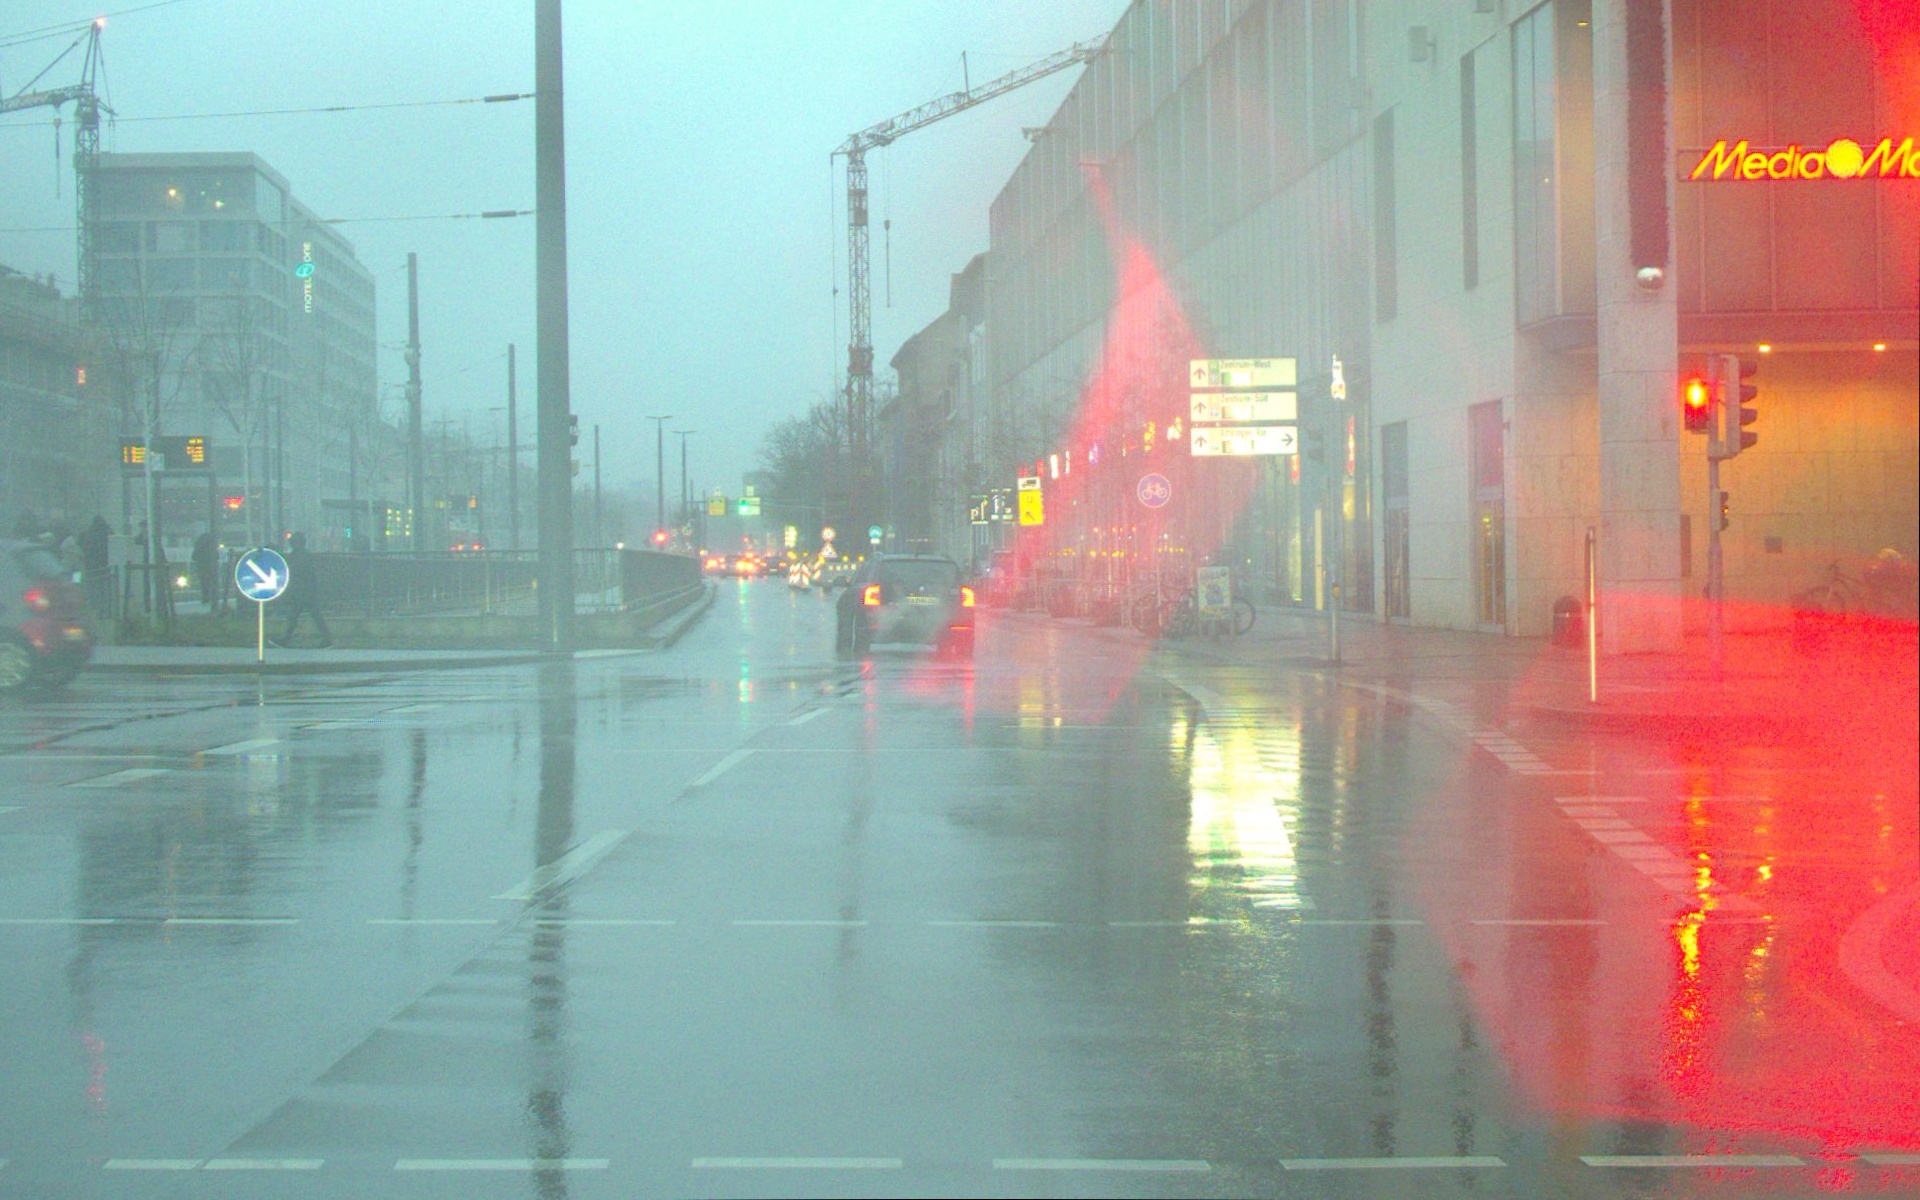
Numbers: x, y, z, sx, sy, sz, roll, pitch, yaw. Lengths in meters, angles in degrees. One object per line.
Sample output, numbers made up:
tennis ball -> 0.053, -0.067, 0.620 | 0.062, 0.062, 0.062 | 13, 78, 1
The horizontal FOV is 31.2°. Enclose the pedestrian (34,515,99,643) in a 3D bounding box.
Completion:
pedestrian -> -12.381, -0.295, 47.664 | 0.703, 1.754, 0.652 | -1, 1, 0

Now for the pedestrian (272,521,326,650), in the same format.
pedestrian -> -9.167, -0.199, 47.673 | 0.633, 1.766, 0.484 | -1, 1, -2

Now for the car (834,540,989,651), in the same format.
car -> -0.758, -0.092, 50.248 | 1.974, 1.525, 4.001 | -1, 1, -5

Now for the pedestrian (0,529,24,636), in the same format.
pedestrian -> -14.624, -0.272, 52.285 | 0.611, 1.613, 0.709 | -1, 1, -4

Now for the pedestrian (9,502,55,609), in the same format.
pedestrian -> -15.258, -0.725, 56.539 | 0.660, 1.740, 0.736 | -1, 1, -11

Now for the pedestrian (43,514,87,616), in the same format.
pedestrian -> -15.450, -0.600, 59.342 | 0.611, 1.740, 0.621 | -1, 1, -6

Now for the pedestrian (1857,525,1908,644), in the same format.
pedestrian -> 13.396, -0.230, 49.922 | 0.536, 1.712, 0.501 | 0, 1, 37

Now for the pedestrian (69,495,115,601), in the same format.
pedestrian -> -14.386, -0.865, 56.986 | 0.619, 1.740, 0.613 | -1, 1, -6

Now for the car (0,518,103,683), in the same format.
car -> -10.473, 0.031, 33.920 | 3.569, 1.577, 1.676 | -1, 0, 1

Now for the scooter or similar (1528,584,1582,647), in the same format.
scooter or similar -> 8.873, 0.227, 51.281 | 0.741, 0.913, 0.400 | -1, 1, 1

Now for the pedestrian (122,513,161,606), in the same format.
pedestrian -> -15.485, -0.763, 65.020 | 0.660, 1.740, 0.621 | -1, 1, -11
